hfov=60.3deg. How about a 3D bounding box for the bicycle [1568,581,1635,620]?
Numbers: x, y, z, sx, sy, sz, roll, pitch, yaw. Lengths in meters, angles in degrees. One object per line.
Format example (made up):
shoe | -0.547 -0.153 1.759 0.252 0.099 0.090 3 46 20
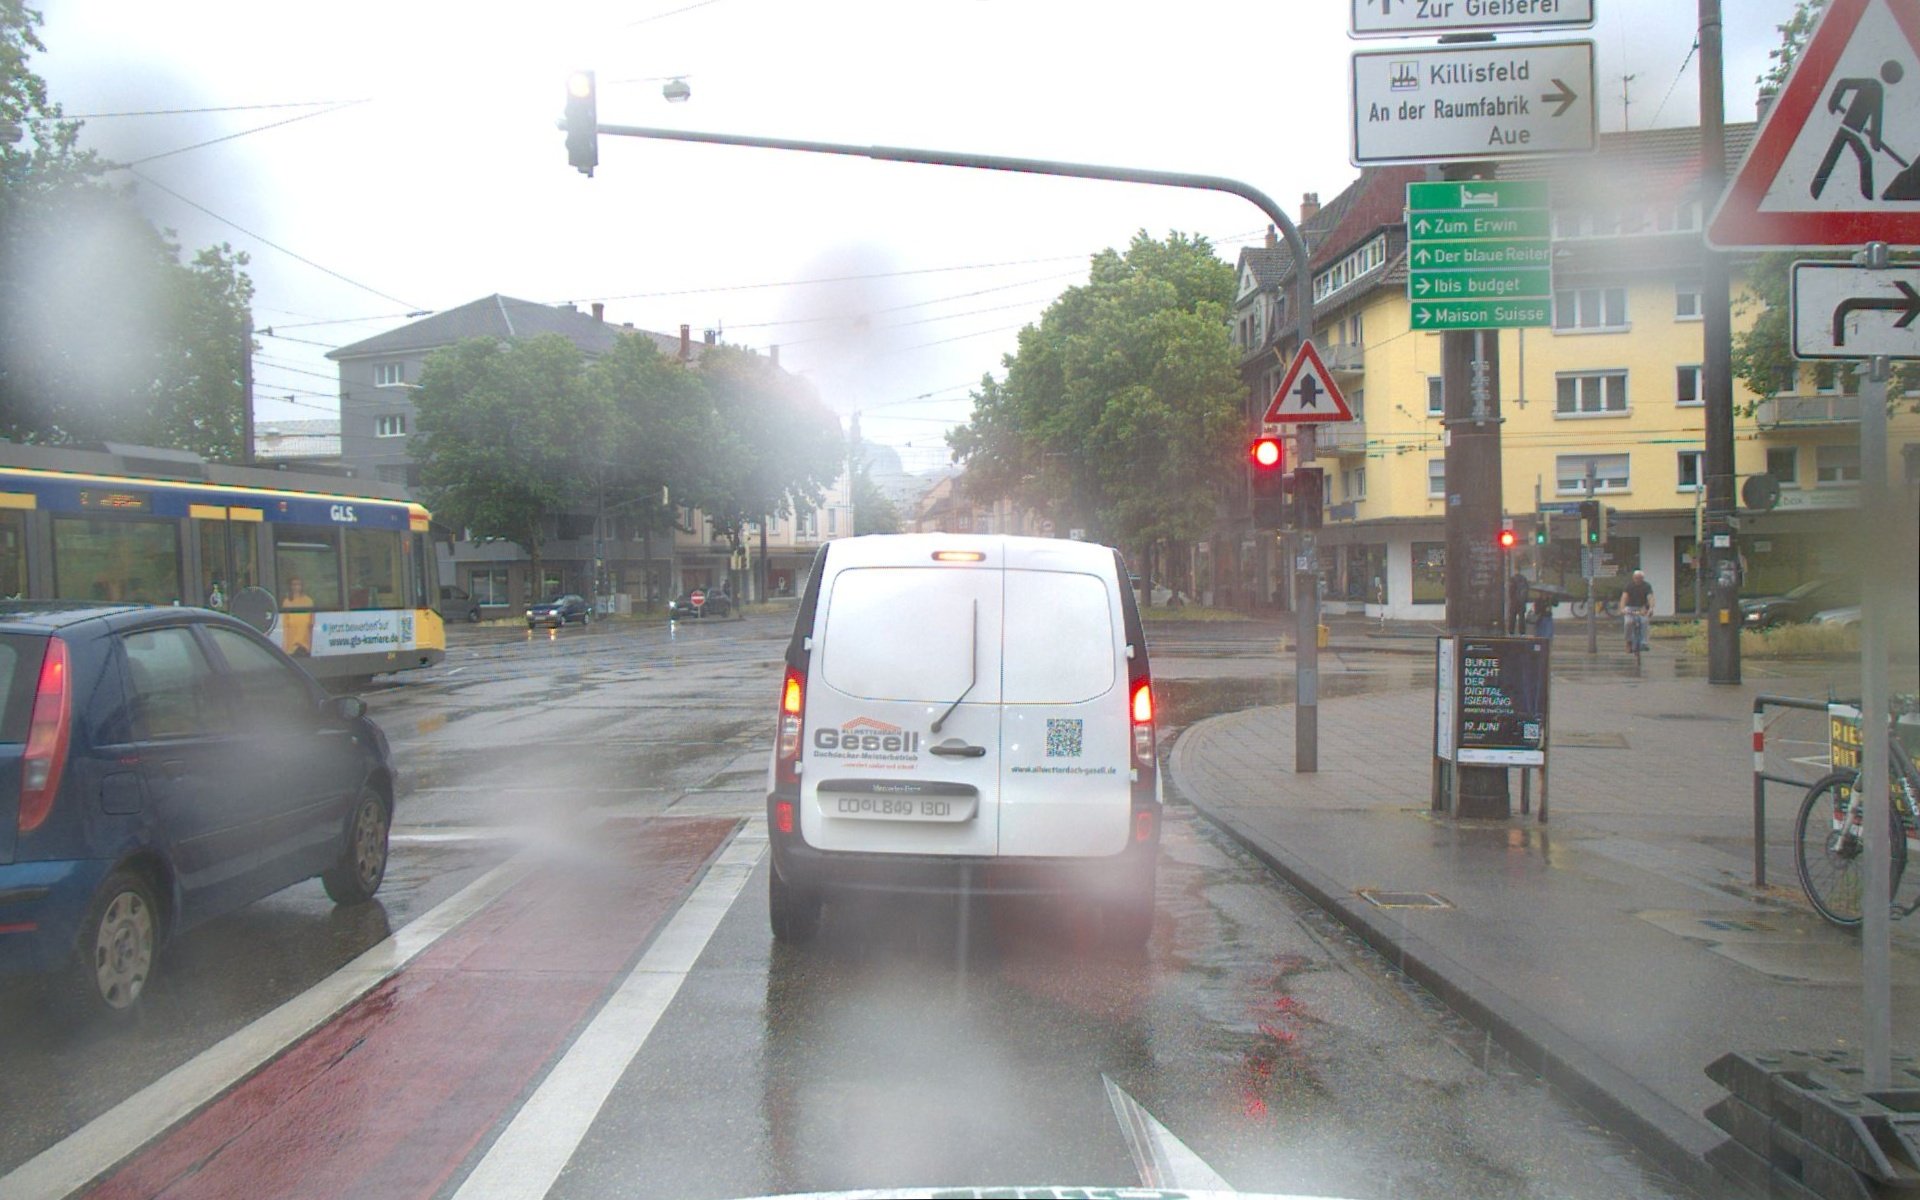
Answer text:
bicycle | 21.546 0.005 55.597 2.056 1.283 0.532 0 1 14

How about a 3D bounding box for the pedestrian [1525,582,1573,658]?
pedestrian | 12.206 0.414 34.269 0.809 1.561 0.614 1 0 -39

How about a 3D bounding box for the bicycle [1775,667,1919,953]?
bicycle | 4.251 0.910 7.086 0.503 1.126 2.017 3 0 1

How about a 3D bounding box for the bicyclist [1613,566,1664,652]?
bicyclist | 12.916 0.169 31.524 0.860 1.611 0.860 0 0 20

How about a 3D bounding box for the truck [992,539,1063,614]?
truck | 5.156 -1.630 122.364 3.395 5.176 15.320 0 0 9

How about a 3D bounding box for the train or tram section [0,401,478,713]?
train or tram section | -11.772 -0.504 22.101 3.465 3.472 15.518 1 0 11

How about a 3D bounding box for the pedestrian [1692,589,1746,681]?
pedestrian | 14.447 0.650 31.488 0.886 1.698 1.020 0 0 23

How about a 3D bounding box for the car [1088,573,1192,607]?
car | 7.506 -0.422 69.060 4.088 1.362 1.518 0 1 -8

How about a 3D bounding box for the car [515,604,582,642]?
car | -17.695 0.949 71.283 1.953 1.480 3.999 -1 1 -1

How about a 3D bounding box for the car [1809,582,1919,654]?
car | 20.839 0.375 36.032 3.854 1.516 1.808 0 1 15

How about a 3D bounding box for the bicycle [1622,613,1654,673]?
bicycle | 12.921 0.803 31.563 0.449 1.045 1.902 0 1 19

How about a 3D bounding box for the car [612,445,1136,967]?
car | -0.371 0.420 9.000 2.058 2.047 4.962 0 0 -1

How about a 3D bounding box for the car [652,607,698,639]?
car | -14.712 1.189 85.653 1.747 1.579 3.999 0 0 -1

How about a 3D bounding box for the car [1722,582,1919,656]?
car | 20.856 0.463 39.080 4.832 1.672 2.001 0 -2 11

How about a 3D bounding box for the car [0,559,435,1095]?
car | -3.609 0.671 6.847 1.692 1.606 3.820 0 0 -1

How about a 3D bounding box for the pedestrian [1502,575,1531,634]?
pedestrian | 14.655 0.120 43.561 0.607 1.526 0.553 0 0 6

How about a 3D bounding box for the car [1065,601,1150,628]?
car | 6.273 0.617 70.629 3.378 1.150 1.469 0 0 -9
